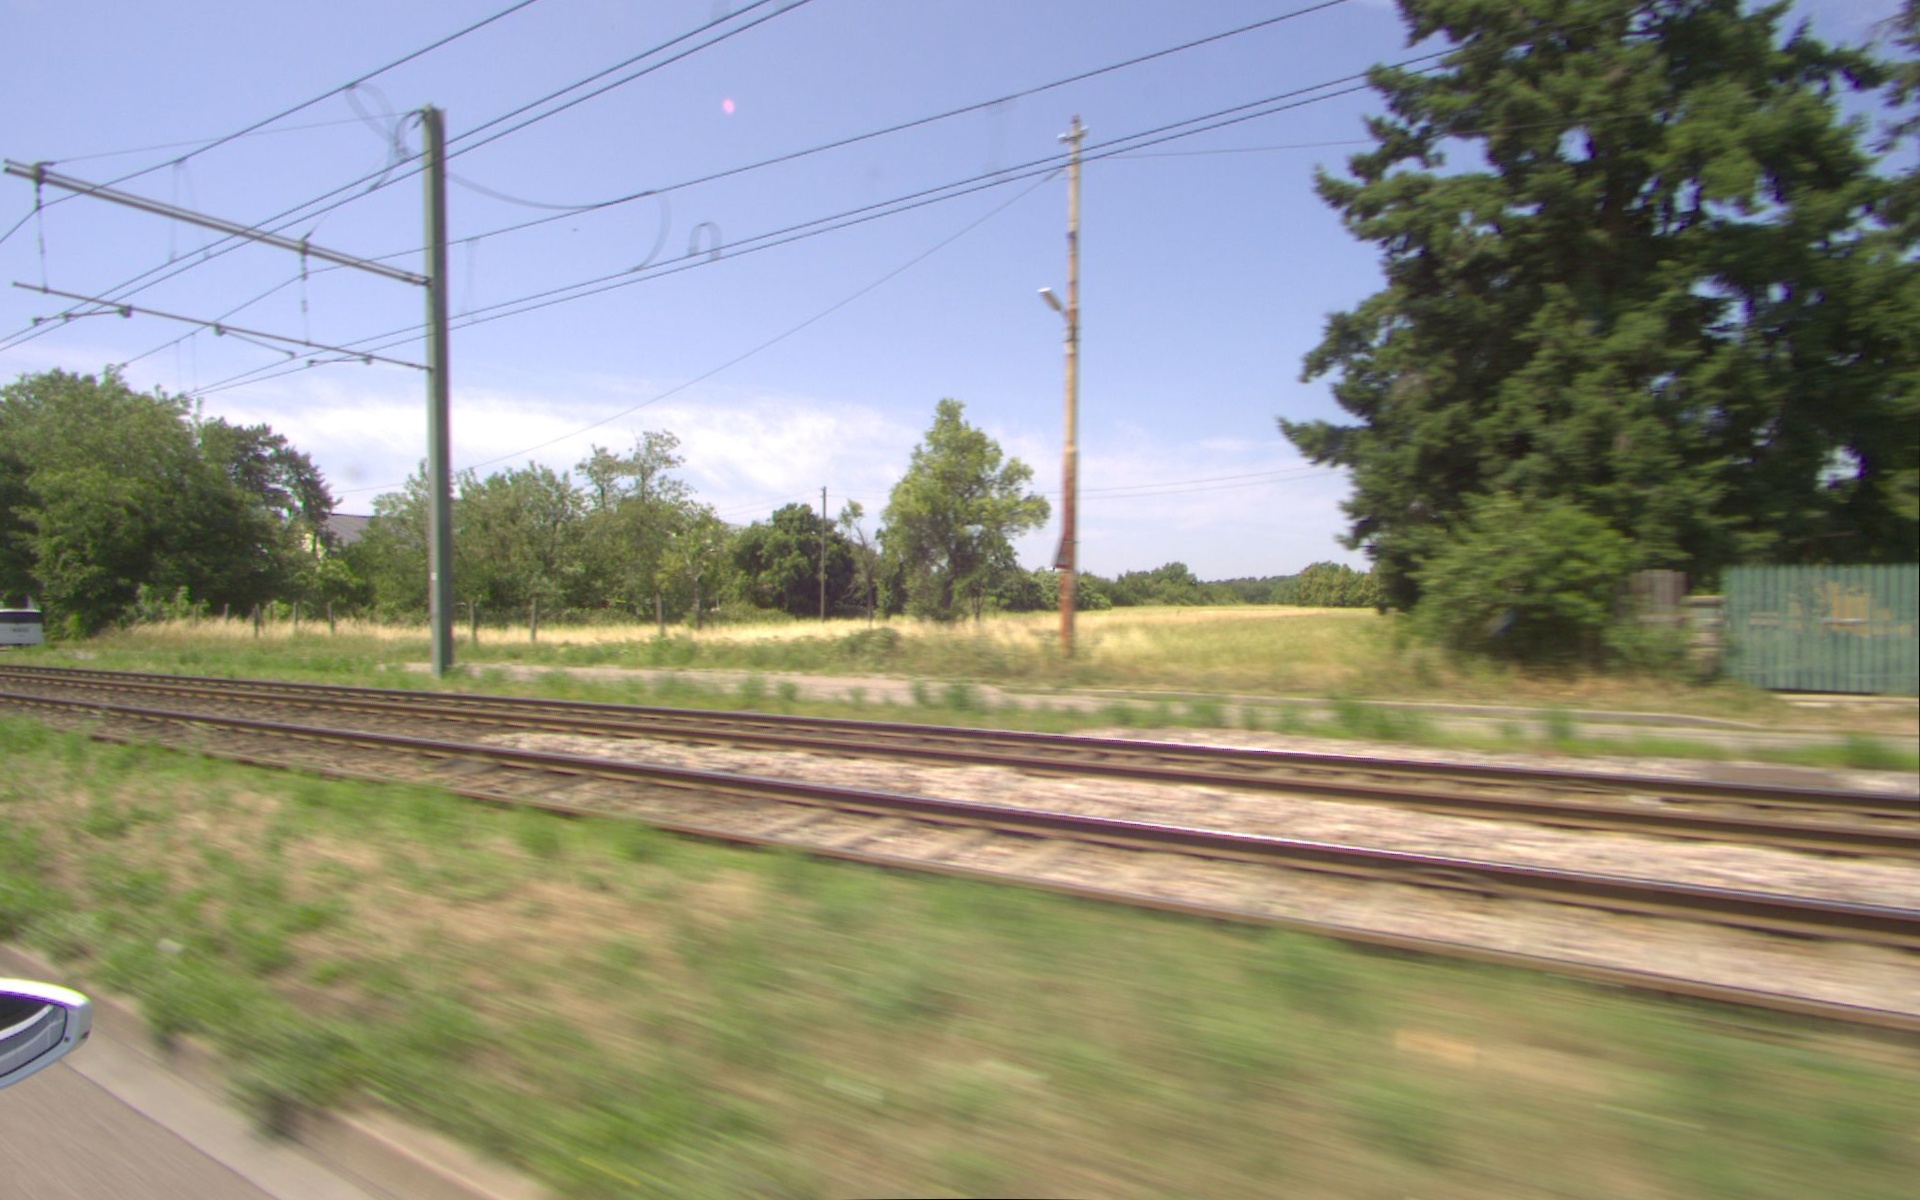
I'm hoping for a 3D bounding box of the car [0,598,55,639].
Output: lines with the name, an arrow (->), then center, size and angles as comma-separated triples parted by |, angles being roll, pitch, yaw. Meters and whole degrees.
car -> -44.708, 0.879, 47.108 | 4.726, 1.826, 1.989 | -1, 0, 33
